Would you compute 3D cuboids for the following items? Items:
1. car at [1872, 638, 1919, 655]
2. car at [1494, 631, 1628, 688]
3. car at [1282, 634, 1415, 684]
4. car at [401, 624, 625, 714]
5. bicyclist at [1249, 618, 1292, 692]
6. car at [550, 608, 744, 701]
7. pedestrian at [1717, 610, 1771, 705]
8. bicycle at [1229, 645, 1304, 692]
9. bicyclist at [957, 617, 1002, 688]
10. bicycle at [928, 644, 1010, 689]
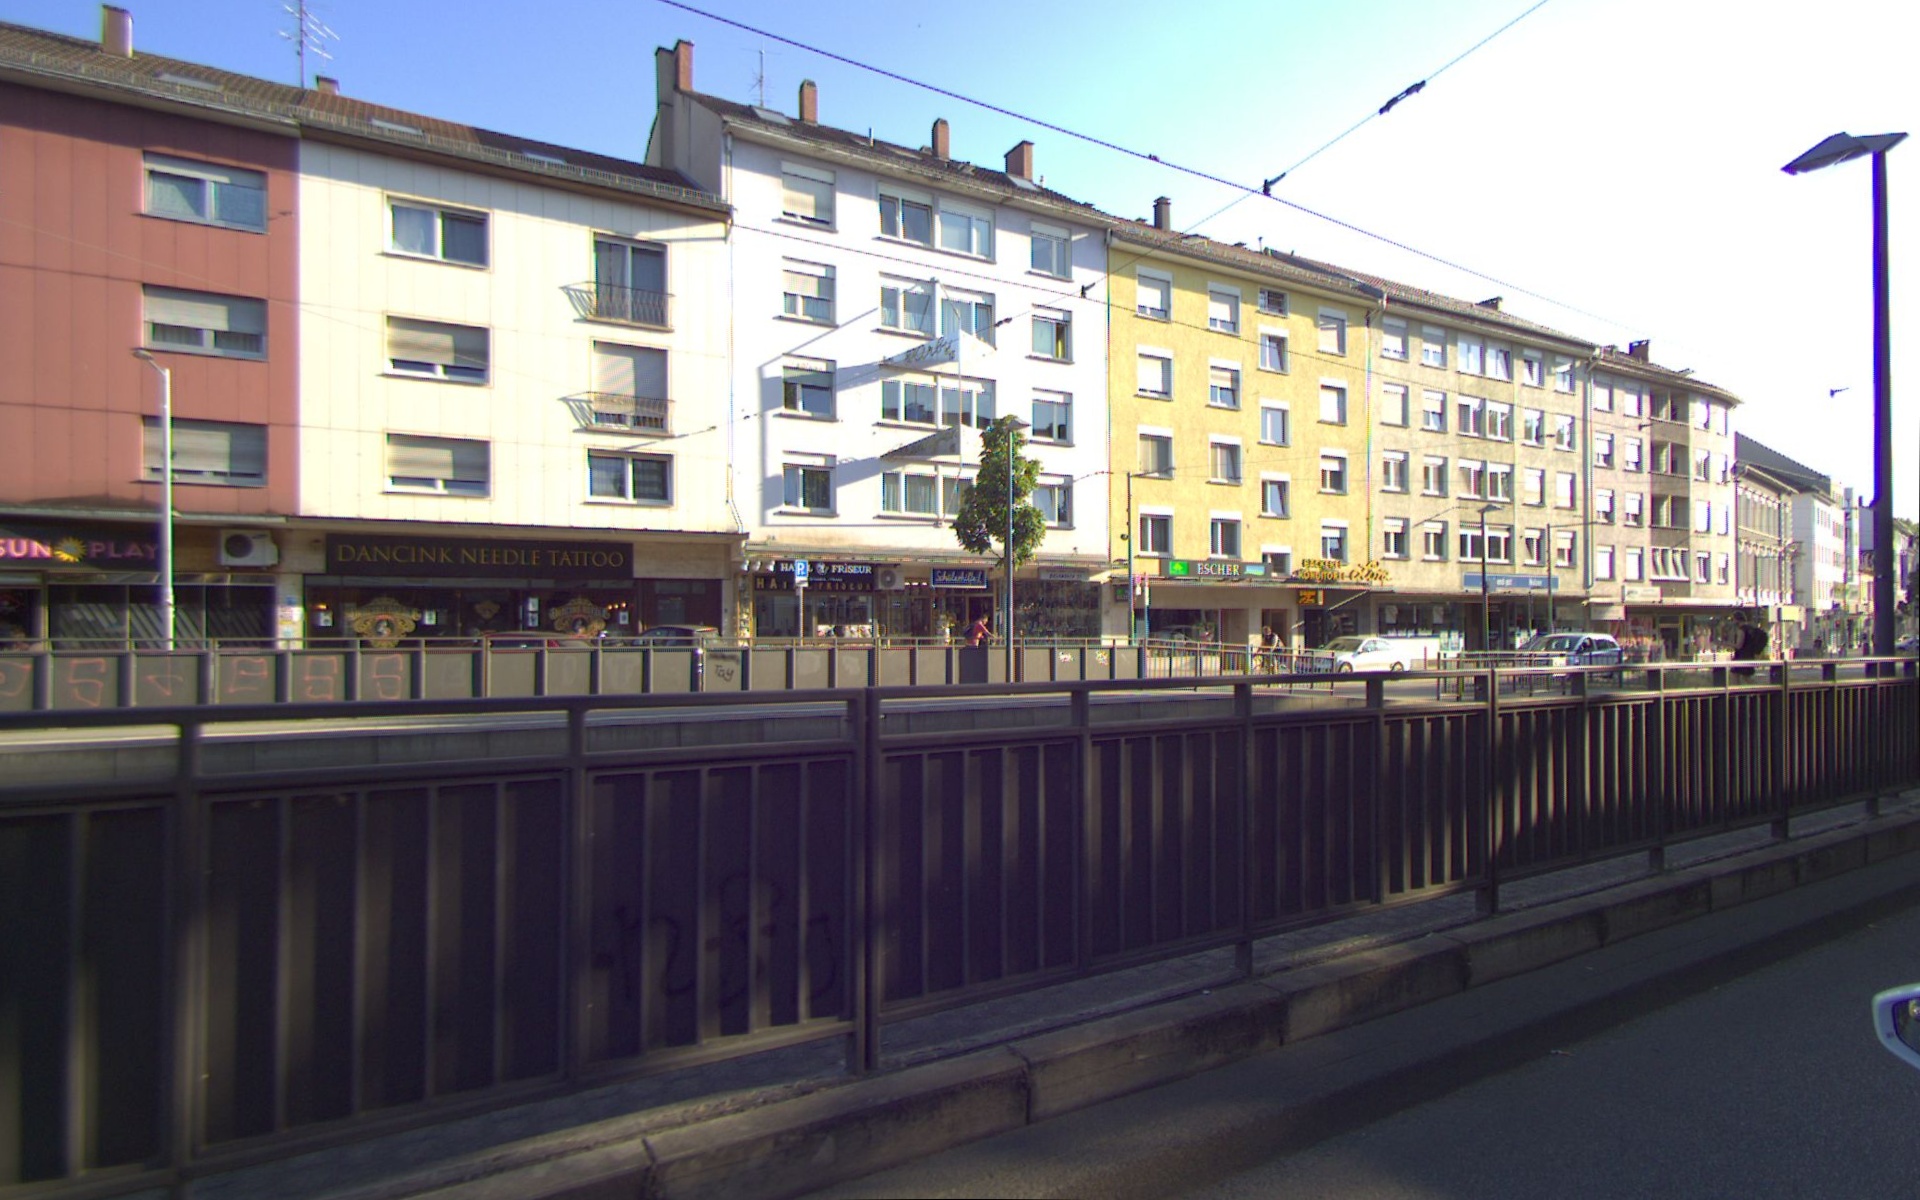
[{"bbox_3d":[85.220,4.156,90.208,4.461,1.431,2.001,0,-1,16],"label":"car"},{"bbox_3d":[19.434,1.868,32.456,4.387,1.739,1.983,1,-2,-32],"label":"car"},{"bbox_3d":[13.034,1.931,33.645,4.365,1.498,1.981,2,0,-34],"label":"car"},{"bbox_3d":[-9.022,1.344,20.437,3.693,1.511,1.865,2,1,8],"label":"car"},{"bbox_3d":[8.766,1.542,28.350,0.901,2.040,0.760,1,-2,-32],"label":"bicyclist"},{"bbox_3d":[-7.006,1.186,22.704,3.693,1.824,1.865,2,1,8],"label":"car"},{"bbox_3d":[15.885,1.155,20.357,0.584,1.873,0.736,1,-1,-36],"label":"pedestrian"},{"bbox_3d":[8.630,1.899,28.260,2.253,1.246,0.714,1,-2,-32],"label":"bicycle"},{"bbox_3d":[0.546,1.439,27.764,1.043,1.911,0.691,1,-2,-24],"label":"bicyclist"},{"bbox_3d":[0.249,1.821,27.637,2.168,1.174,0.704,1,0,-24],"label":"bicycle"}]
